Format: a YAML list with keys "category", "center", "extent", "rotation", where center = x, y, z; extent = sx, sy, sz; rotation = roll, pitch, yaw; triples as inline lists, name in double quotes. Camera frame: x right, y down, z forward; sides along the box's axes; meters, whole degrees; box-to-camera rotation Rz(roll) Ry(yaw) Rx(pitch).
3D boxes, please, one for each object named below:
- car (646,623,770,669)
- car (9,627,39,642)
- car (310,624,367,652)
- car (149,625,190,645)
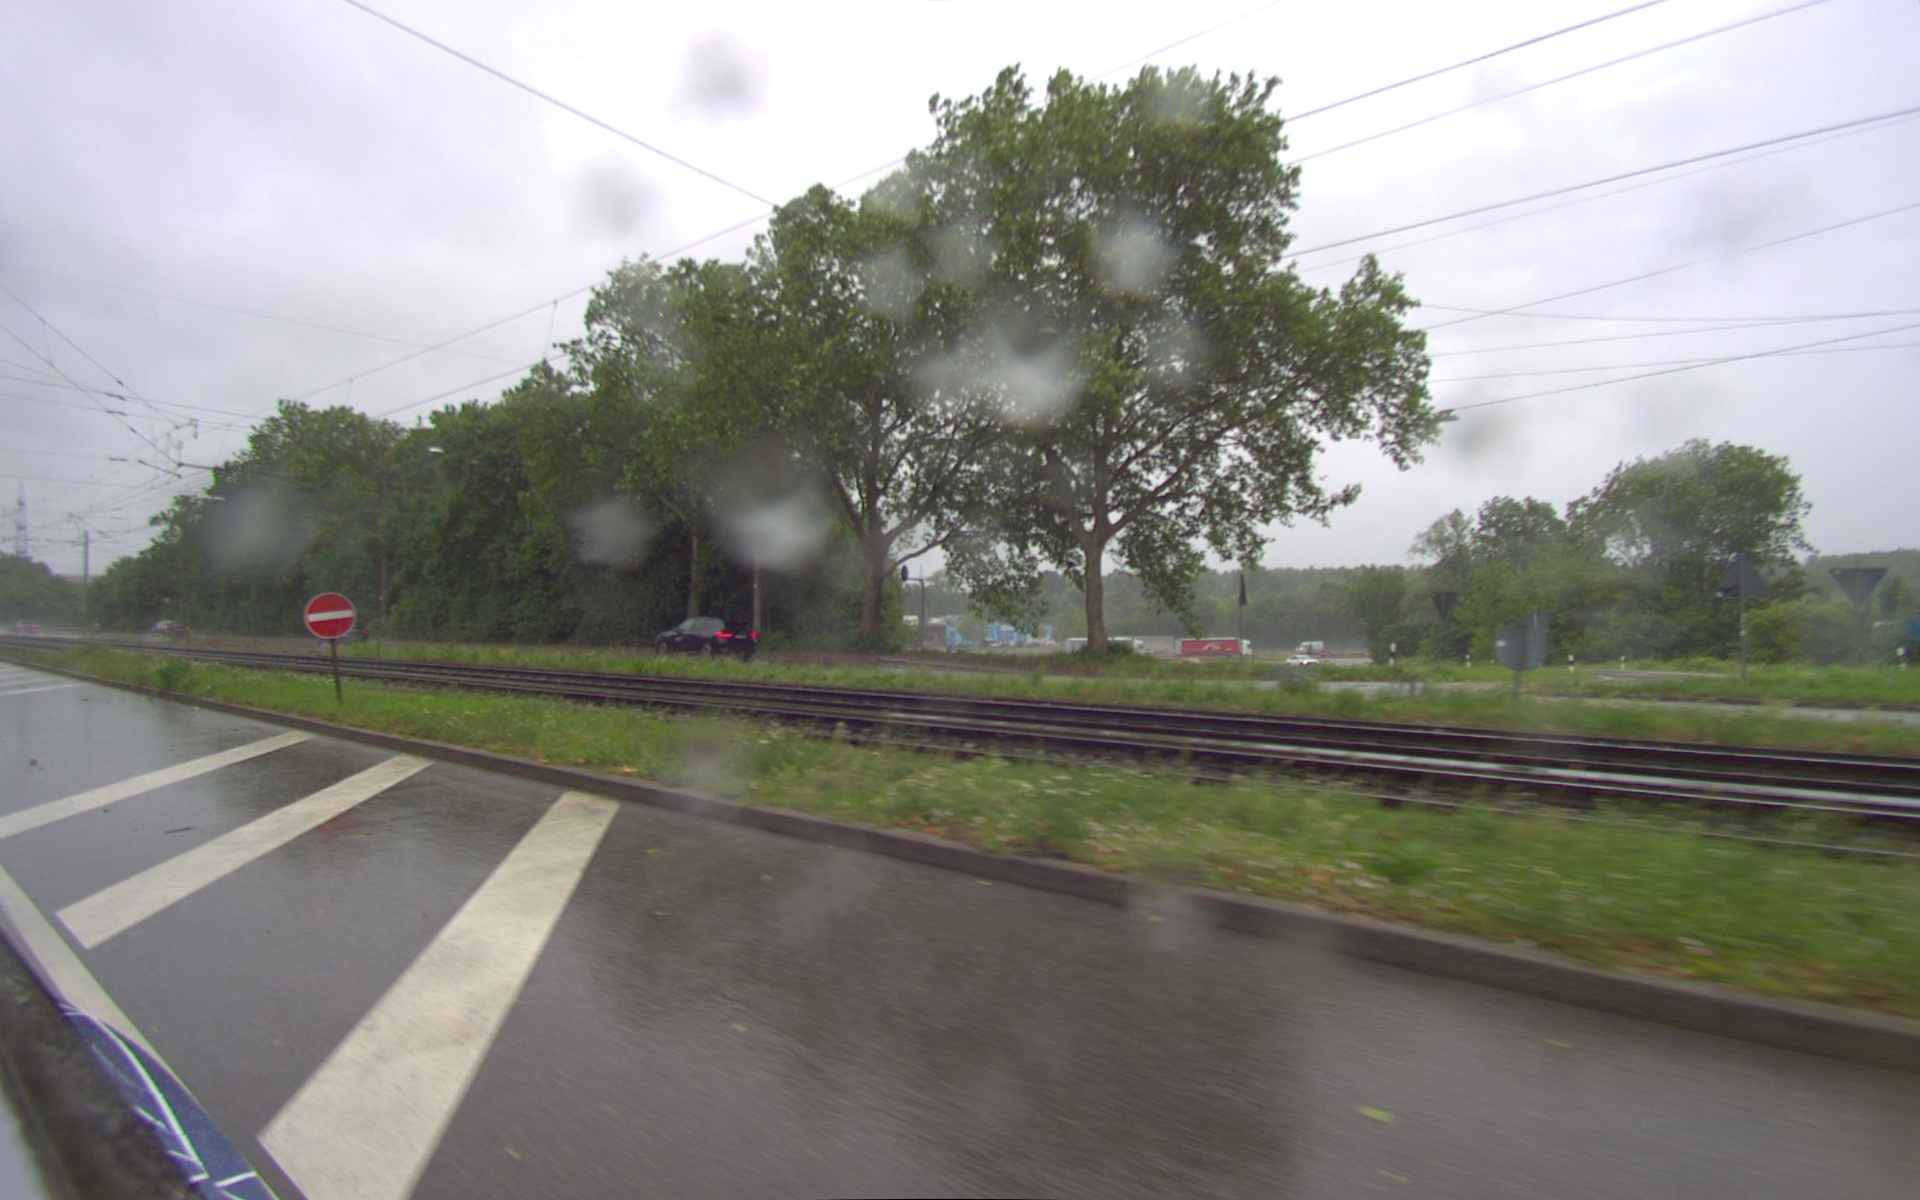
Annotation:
- category: "car"
  center: [-9.136, 1.614, 36.572]
  extent: [4.273, 1.540, 2.191]
  rotation: [-1, -1, 38]
- category: "car"
  center: [-101.859, 3.715, 110.104]
  extent: [4.950, 1.535, 1.674]
  rotation: [-1, -1, 39]
- category: "car"
  center: [-36.239, 2.181, 58.988]
  extent: [4.043, 1.580, 1.634]
  rotation: [-1, -1, 40]
- category: "car"
  center: [-60.732, 2.686, 77.752]
  extent: [3.936, 1.416, 1.665]
  rotation: [-1, -1, 40]
